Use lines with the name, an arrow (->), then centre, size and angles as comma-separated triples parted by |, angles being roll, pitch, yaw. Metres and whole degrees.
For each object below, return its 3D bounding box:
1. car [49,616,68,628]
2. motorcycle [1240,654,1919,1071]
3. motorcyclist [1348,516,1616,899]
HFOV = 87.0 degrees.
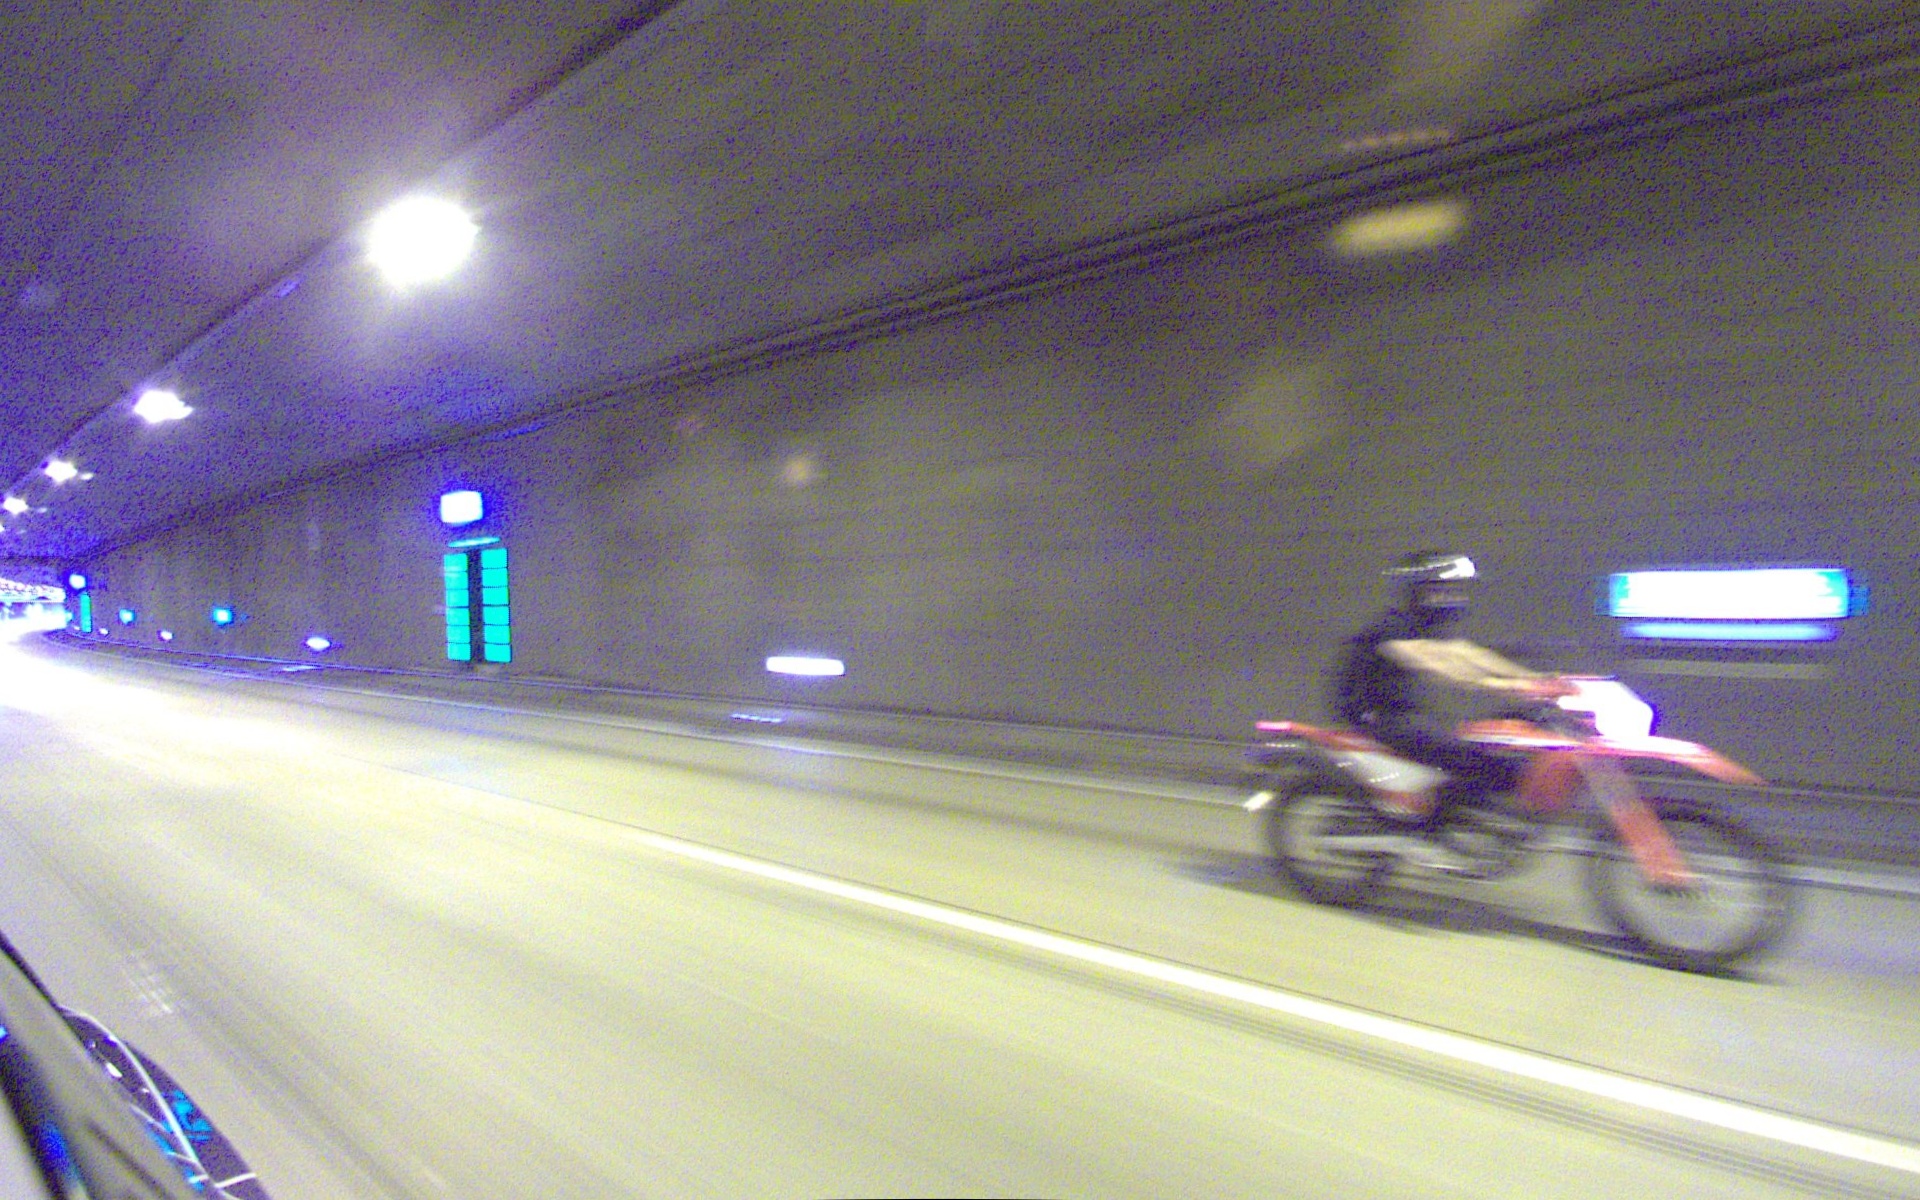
car -> -151.129, 3.677, 169.626 | 1.967, 1.812, 4.009 | 0, -1, -37
motorcycle -> 2.529, 0.858, 4.253 | 1.040, 1.166, 2.430 | 1, -1, -42
motorcyclist -> 2.310, 0.434, 4.517 | 0.619, 1.500, 0.892 | 2, -2, -41
